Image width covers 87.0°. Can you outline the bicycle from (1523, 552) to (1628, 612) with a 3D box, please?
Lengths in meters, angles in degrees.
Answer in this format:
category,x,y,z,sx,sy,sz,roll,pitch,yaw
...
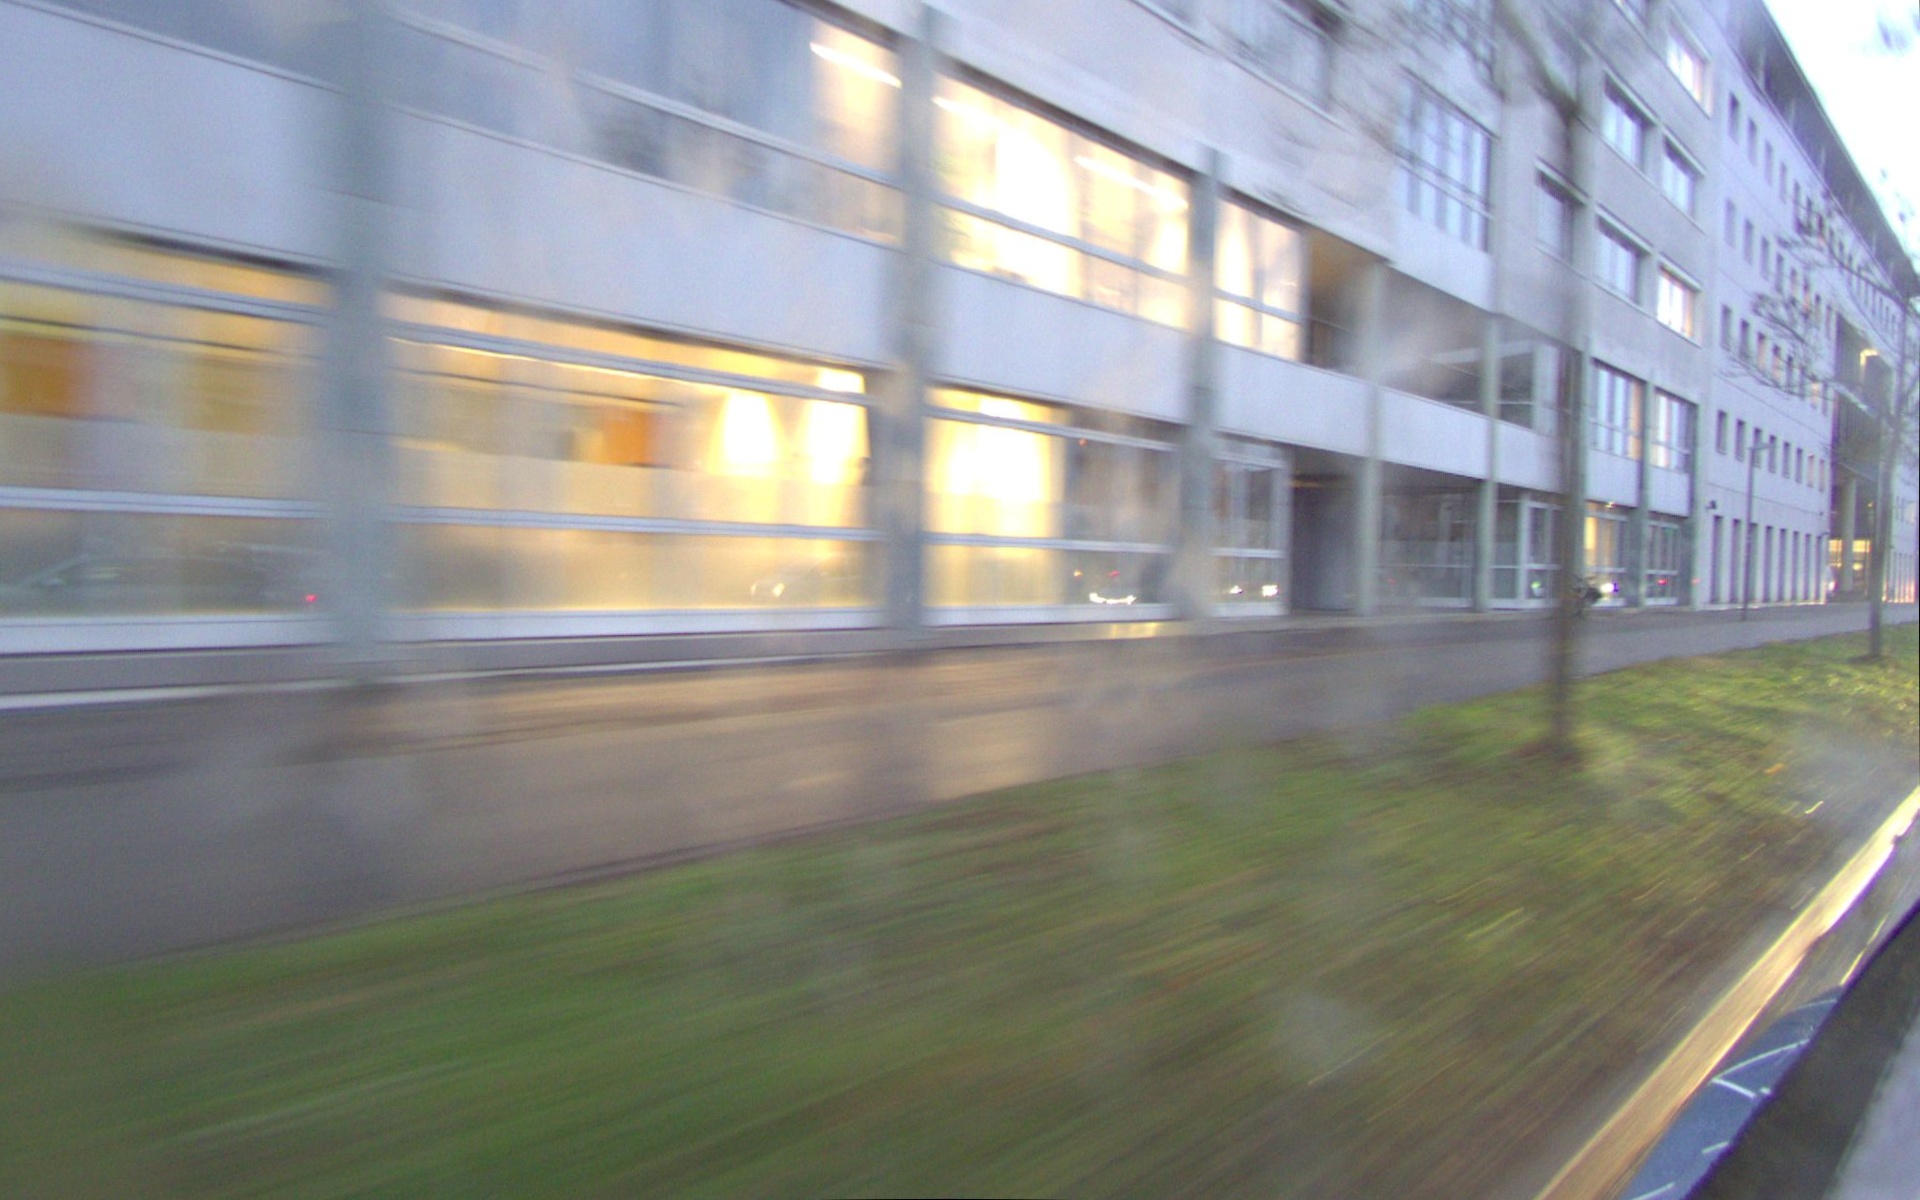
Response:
category,x,y,z,sx,sy,sz,roll,pitch,yaw
bicycle,14.488,-0.408,23.812,2.407,1.288,0.827,1,5,-25

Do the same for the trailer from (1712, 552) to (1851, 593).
category,x,y,z,sx,sy,sz,roll,pitch,yaw
trailer,41.837,-1.427,51.659,2.089,1.935,5.085,1,1,-35
